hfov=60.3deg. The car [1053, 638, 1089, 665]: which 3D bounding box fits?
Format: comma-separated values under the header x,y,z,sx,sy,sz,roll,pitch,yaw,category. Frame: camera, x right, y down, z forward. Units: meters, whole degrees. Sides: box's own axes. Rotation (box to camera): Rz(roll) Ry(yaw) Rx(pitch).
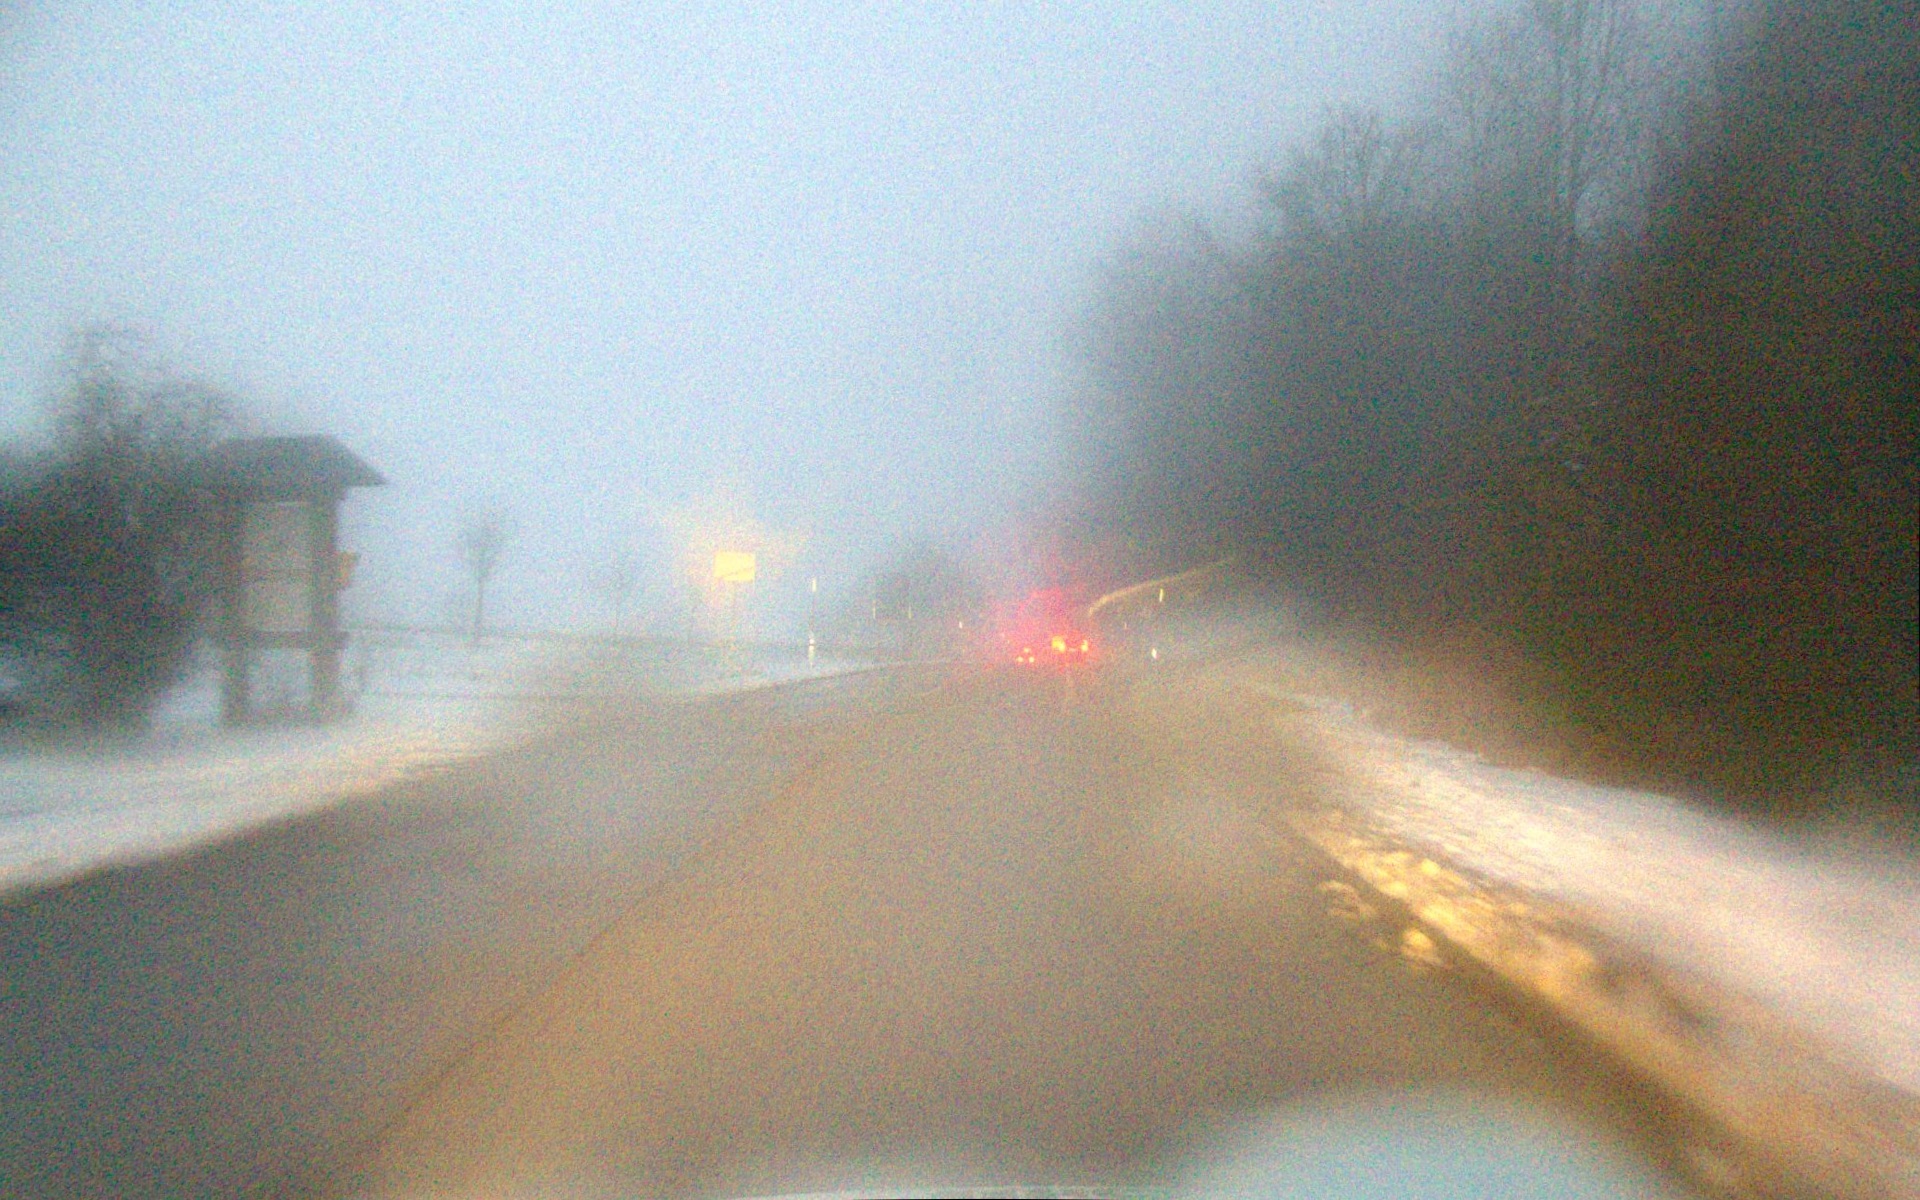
x,y,z,sx,sy,sz,roll,pitch,yaw,category
6.274,2.908,93.840,1.952,1.445,4.001,1,0,3,car
